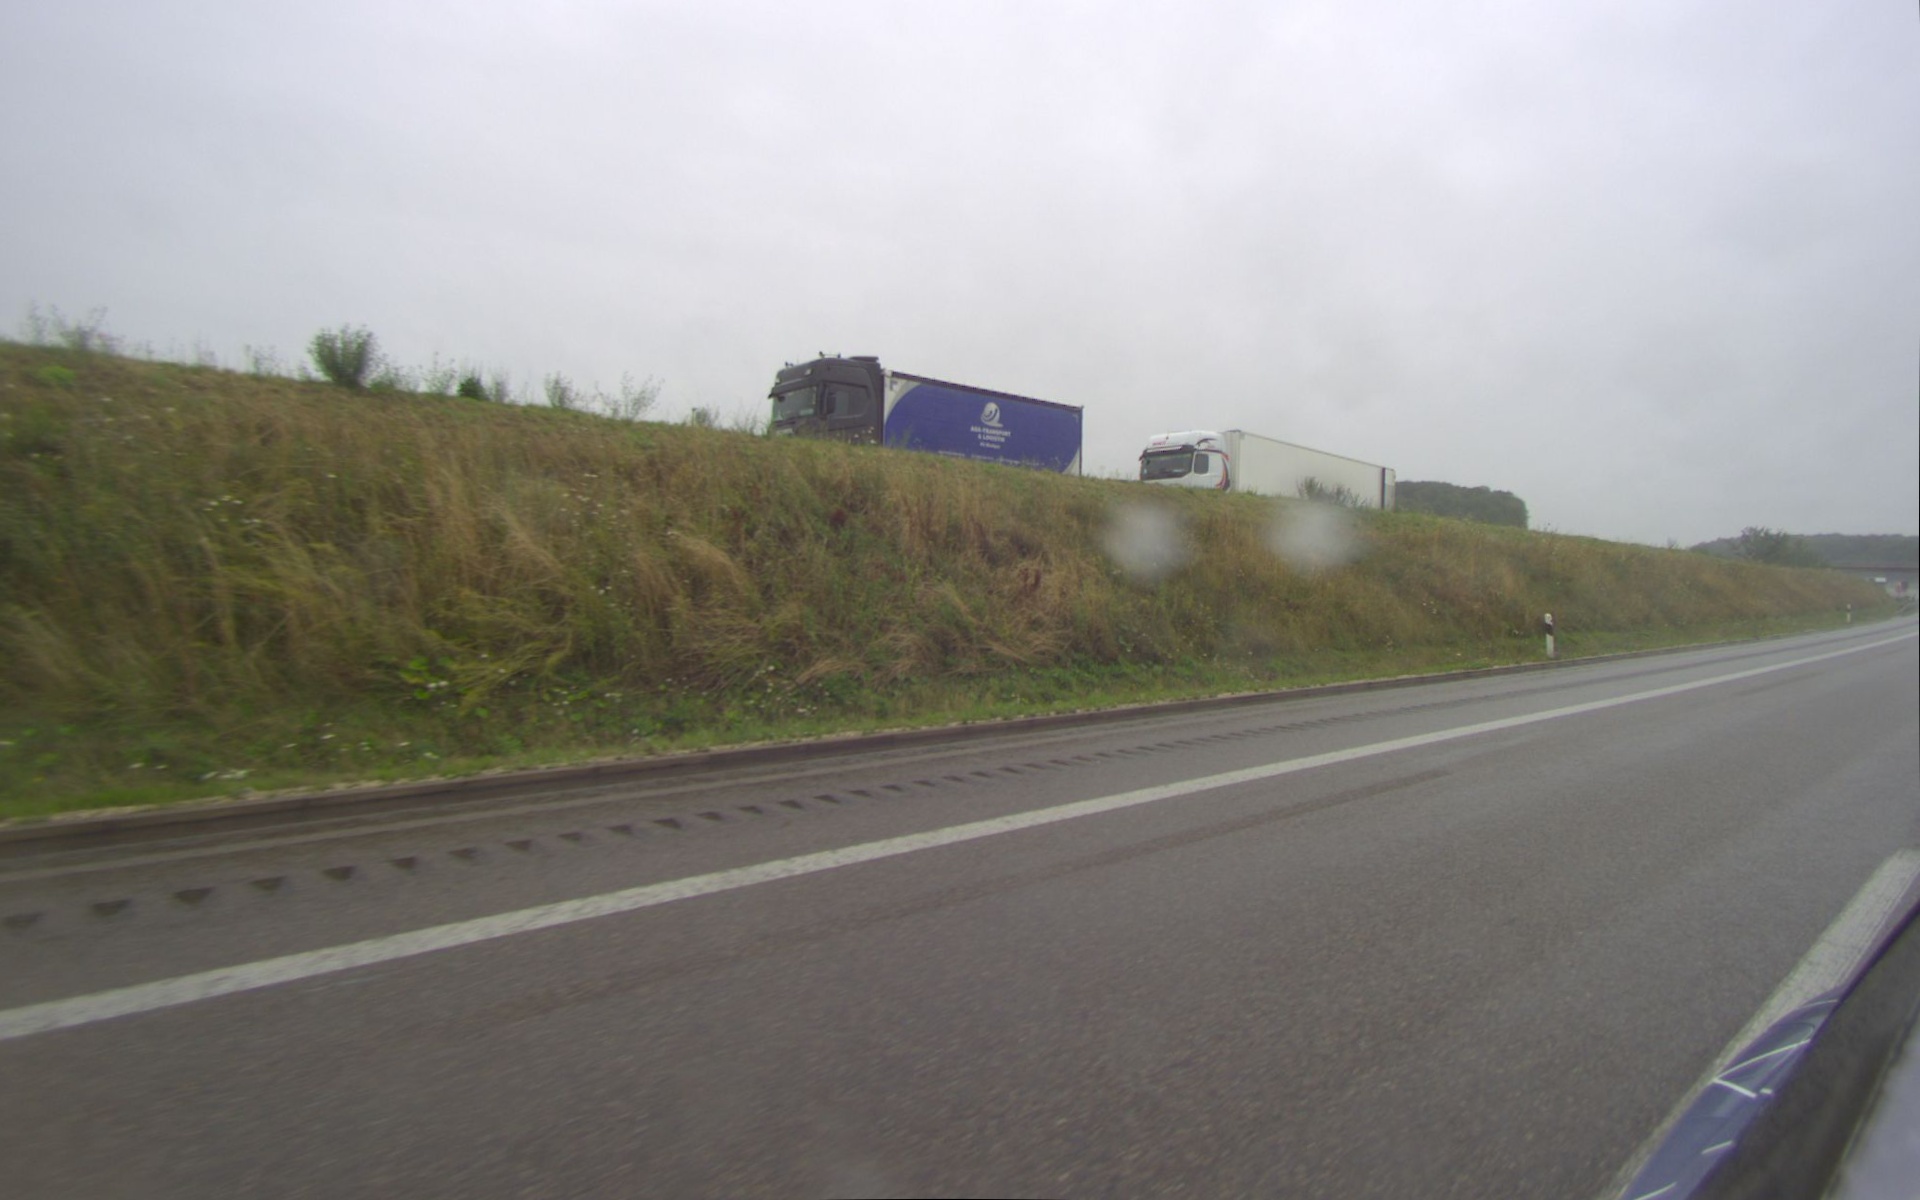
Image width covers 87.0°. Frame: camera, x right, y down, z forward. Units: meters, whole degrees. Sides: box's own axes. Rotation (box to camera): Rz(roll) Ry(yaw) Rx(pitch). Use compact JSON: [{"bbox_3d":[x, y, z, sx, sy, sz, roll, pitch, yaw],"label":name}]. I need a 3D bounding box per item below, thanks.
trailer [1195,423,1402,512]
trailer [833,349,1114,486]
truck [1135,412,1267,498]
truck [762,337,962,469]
[{"bbox_3d":[14.808,-5.431,43.220,12.740,2.636,2.385,-1,0,-42],"label":"trailer"},{"bbox_3d":[0.703,-5.192,30.254,9.241,2.790,2.300,-1,0,-41],"label":"trailer"},{"bbox_3d":[9.166,-5.364,38.250,4.991,2.600,2.428,-1,0,-41],"label":"truck"},{"bbox_3d":[-2.580,-5.163,27.382,4.974,2.637,2.370,-1,0,-41],"label":"truck"}]
